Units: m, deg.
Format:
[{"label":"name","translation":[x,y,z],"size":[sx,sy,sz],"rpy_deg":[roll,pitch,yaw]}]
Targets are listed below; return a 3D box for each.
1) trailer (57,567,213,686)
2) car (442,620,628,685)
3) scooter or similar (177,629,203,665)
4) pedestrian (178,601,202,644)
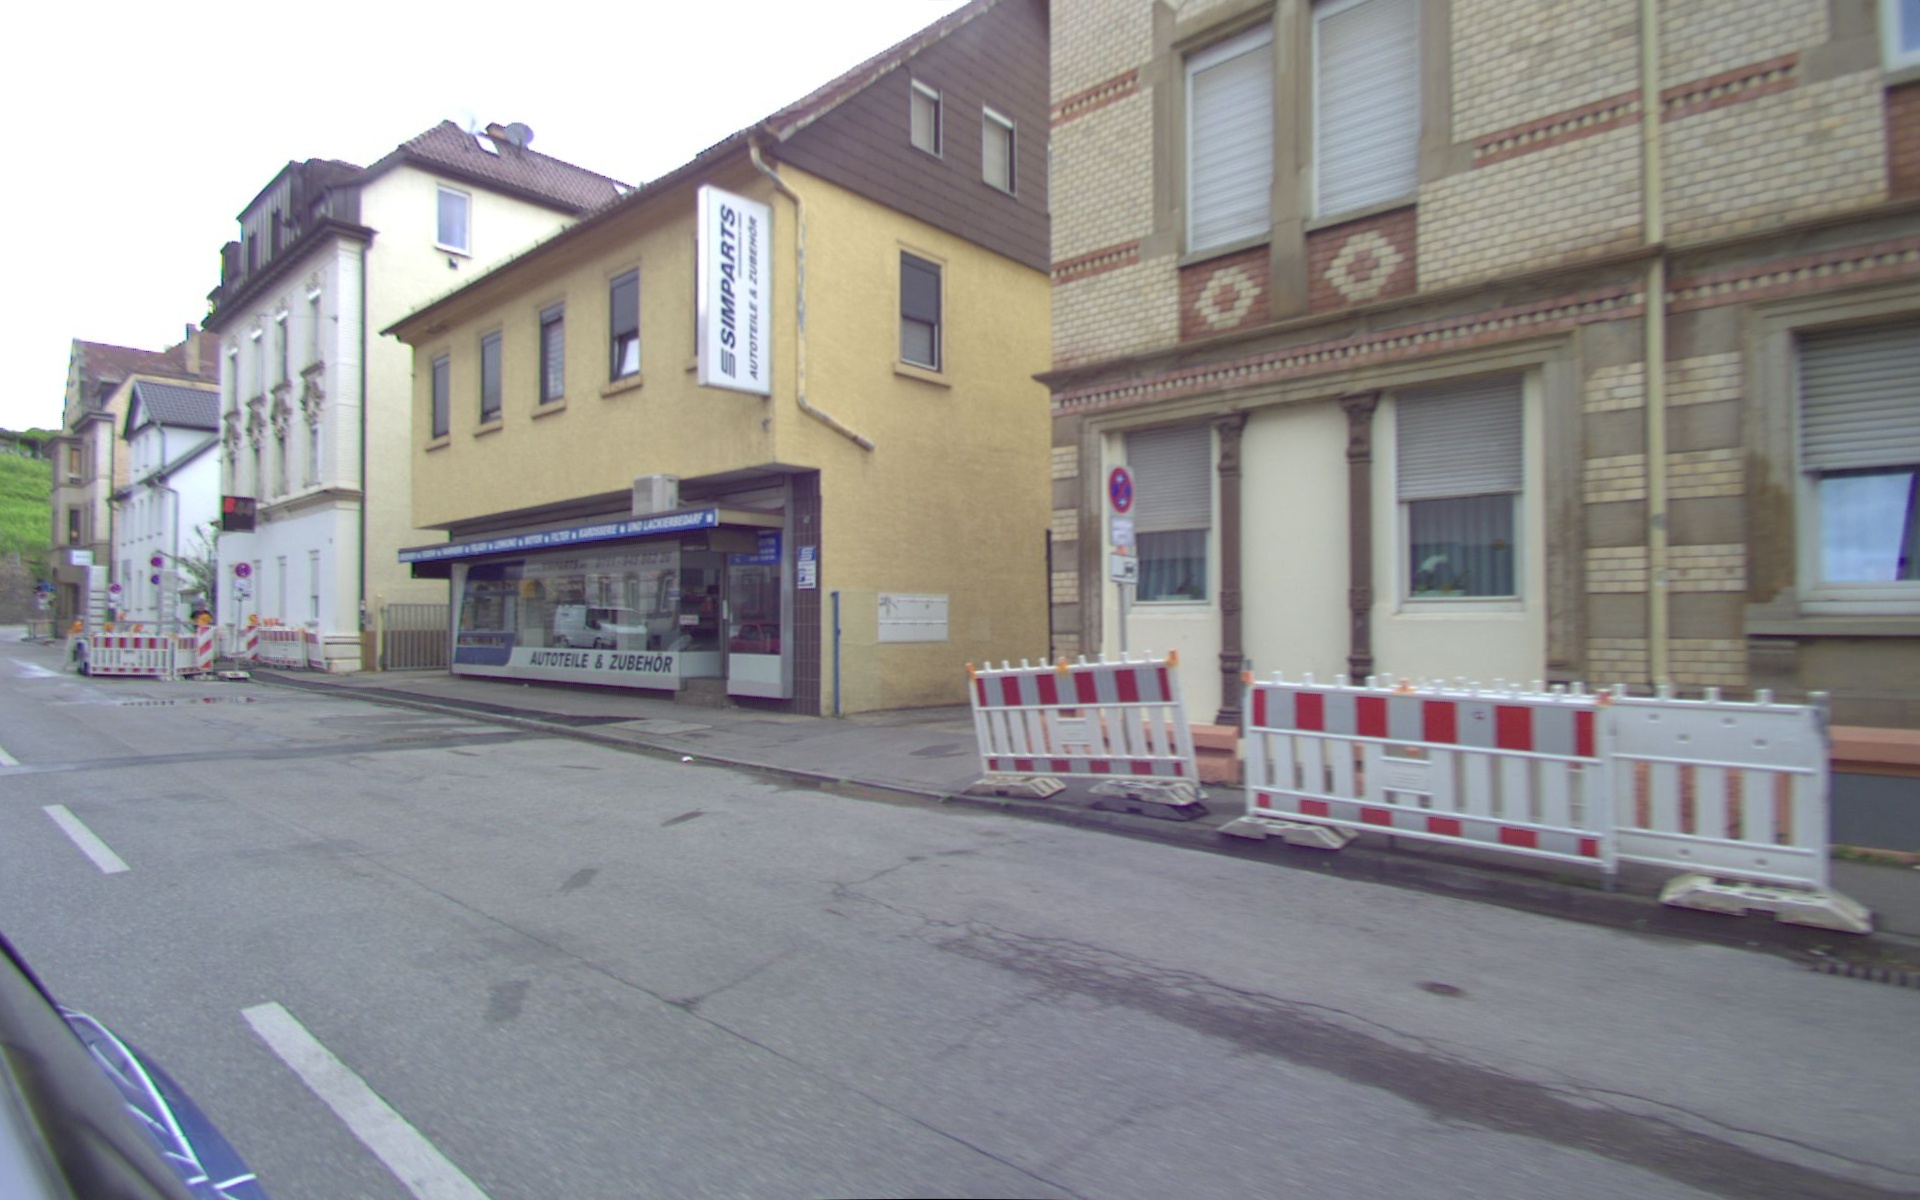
[{"label":"trailer","translation":[-22.239,0.725,27.167],"size":[6.304,2.825,2.417],"rpy_deg":[-1,-3,44]},{"label":"car","translation":[-10.561,1.248,25.366],"size":[1.724,1.497,3.948],"rpy_deg":[-1,-1,39]},{"label":"scooter or similar","translation":[-28.485,1.724,37.437],"size":[1.227,1.300,0.554],"rpy_deg":[0,0,42]},{"label":"pedestrian","translation":[-28.483,0.814,37.447],"size":[0.607,1.578,0.594],"rpy_deg":[0,0,41]}]
